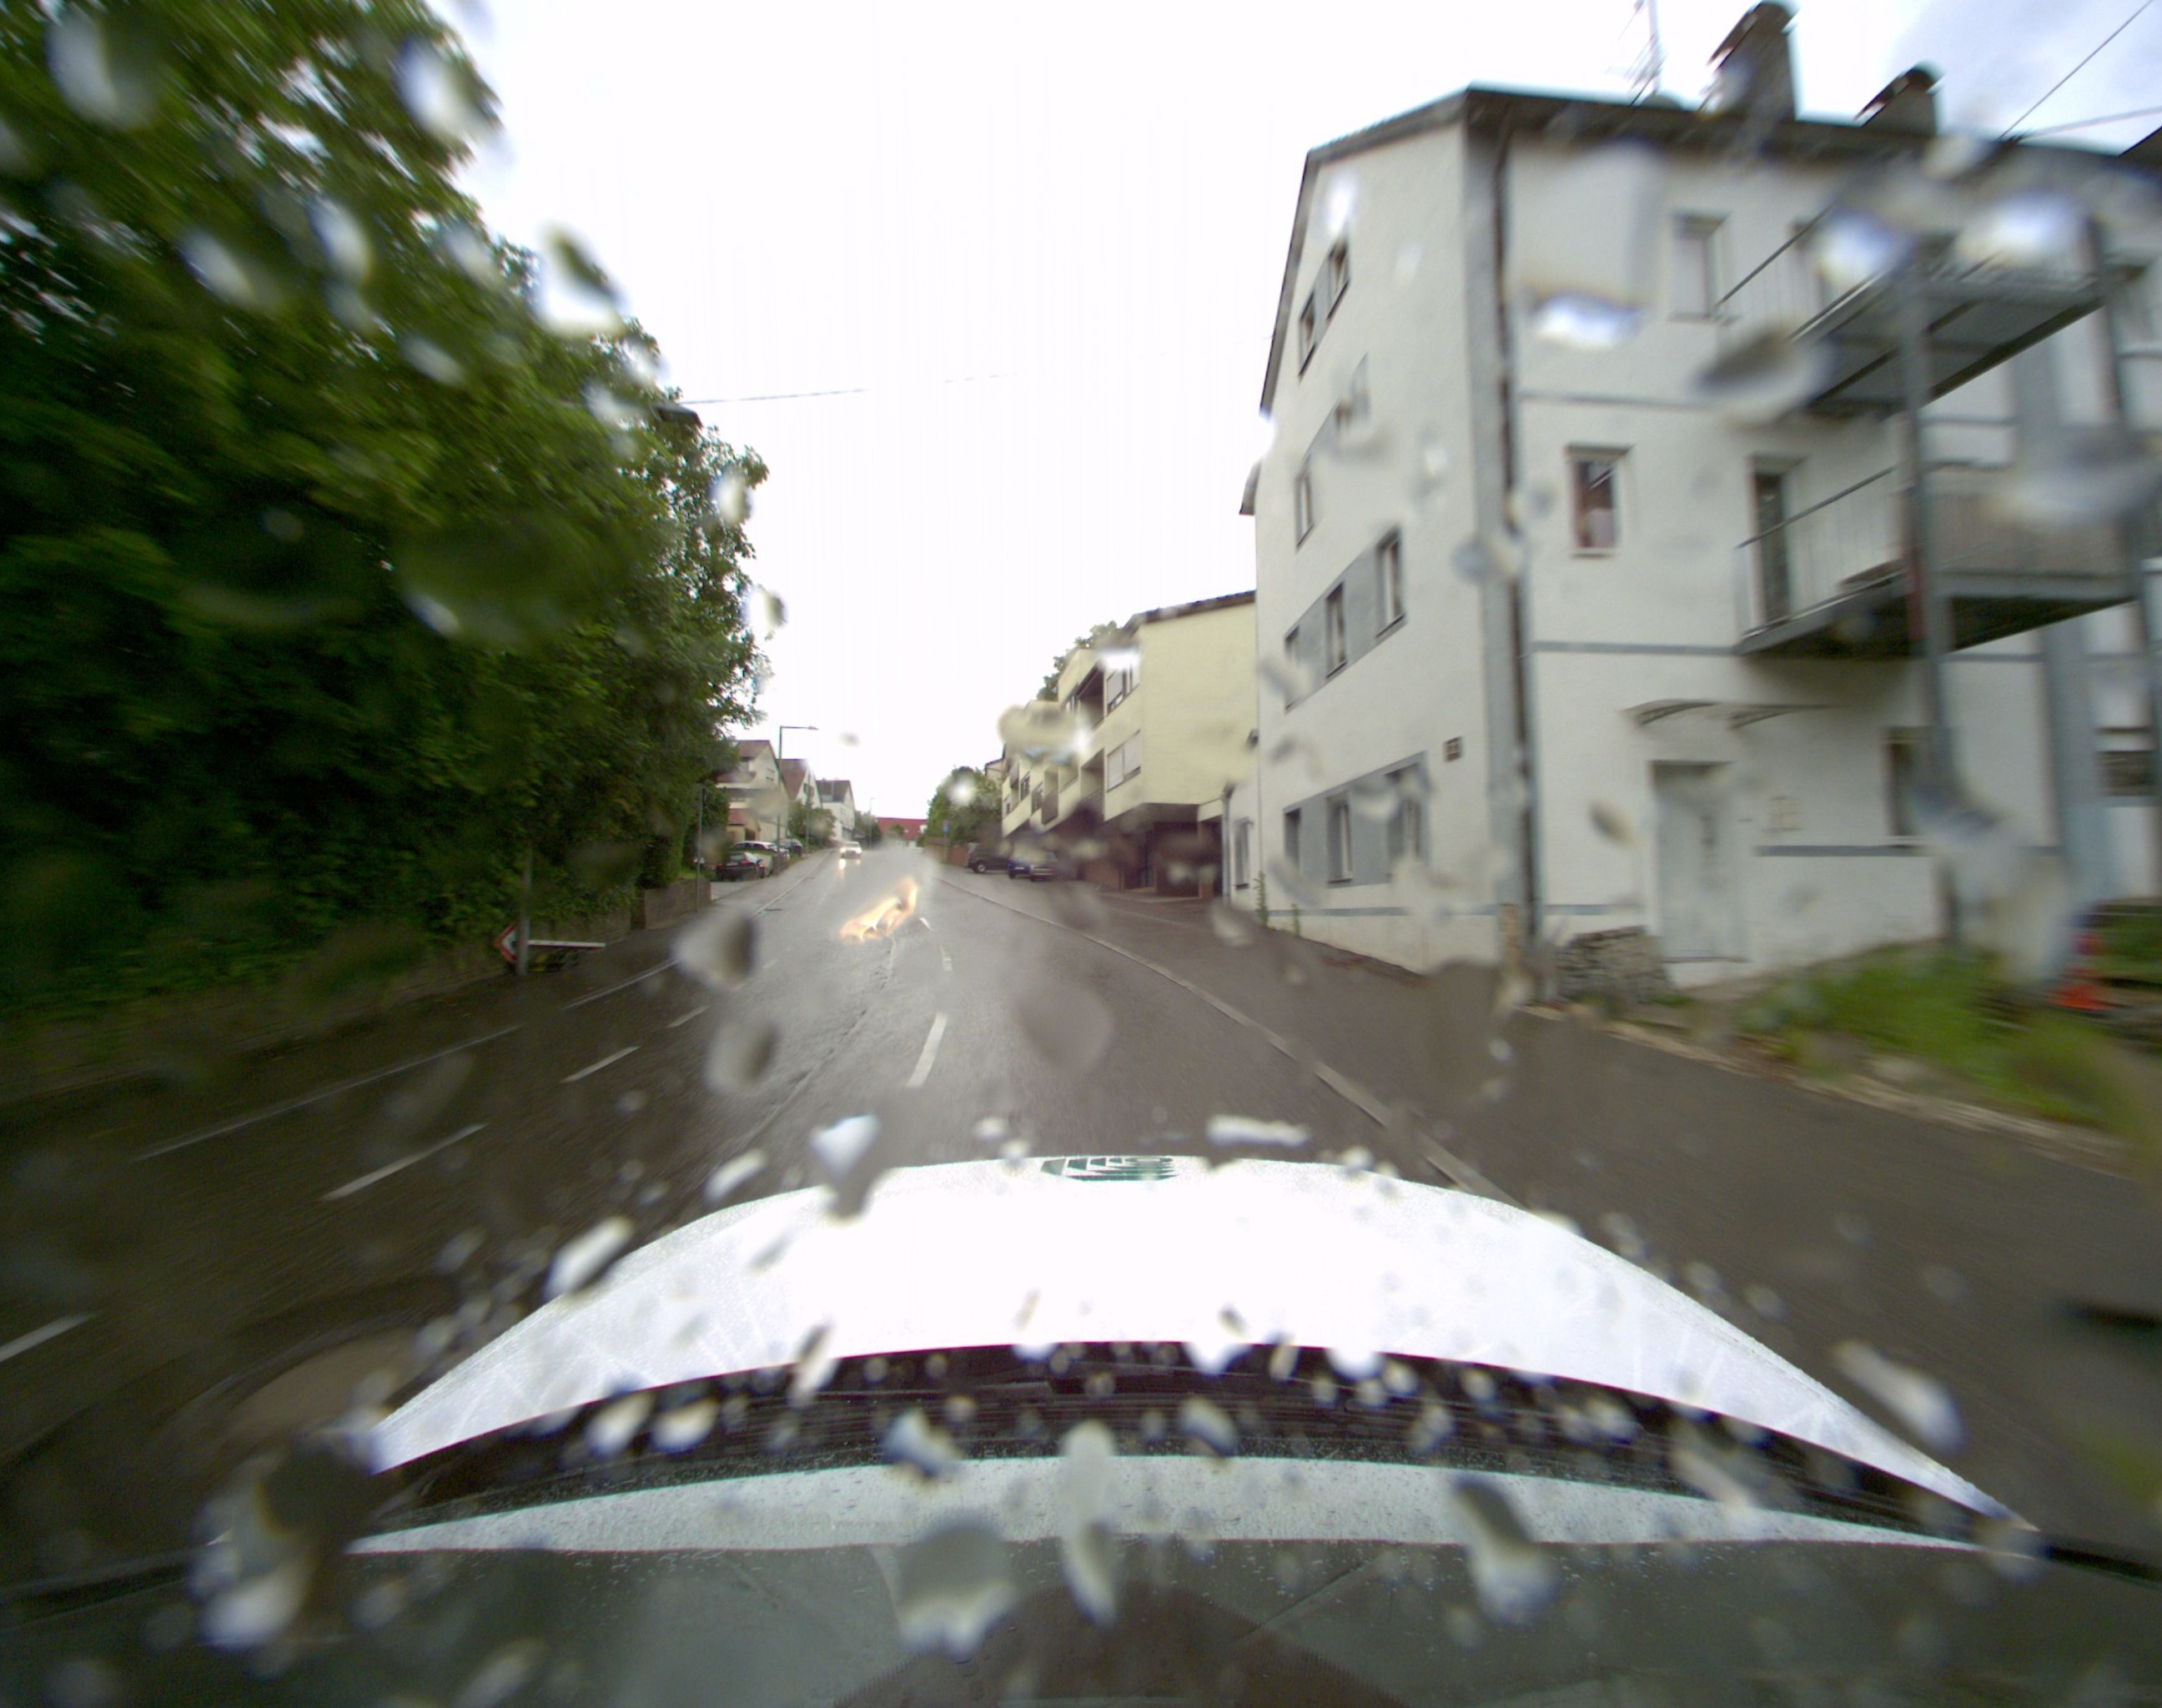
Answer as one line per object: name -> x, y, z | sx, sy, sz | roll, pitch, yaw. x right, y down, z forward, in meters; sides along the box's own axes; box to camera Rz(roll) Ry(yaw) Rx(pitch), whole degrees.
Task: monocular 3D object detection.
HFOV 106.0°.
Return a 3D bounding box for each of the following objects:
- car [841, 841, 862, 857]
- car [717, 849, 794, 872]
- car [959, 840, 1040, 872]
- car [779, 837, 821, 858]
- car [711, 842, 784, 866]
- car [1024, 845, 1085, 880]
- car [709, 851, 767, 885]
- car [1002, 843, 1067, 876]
car -> -20.805, -0.455, 73.887 | 1.705, 1.387, 4.031 | -2, 1, -14
car -> -22.349, 0.414, 56.046 | 4.487, 1.505, 1.898 | 0, 1, -4
car -> -5.016, 0.086, 50.007 | 4.718, 1.820, 1.989 | -1, 1, -17
car -> -23.354, -0.579, 67.957 | 1.969, 1.659, 4.958 | 0, 1, -3
car -> -21.889, -0.032, 53.548 | 3.979, 1.505, 1.898 | 0, 1, -4
car -> -1.251, 0.393, 40.371 | 1.768, 1.578, 4.085 | 2, 1, 17
car -> -16.748, 0.623, 39.940 | 1.897, 1.441, 4.425 | -2, 2, -14
car -> -2.396, 0.273, 43.111 | 1.766, 1.578, 4.089 | 2, 1, 22
